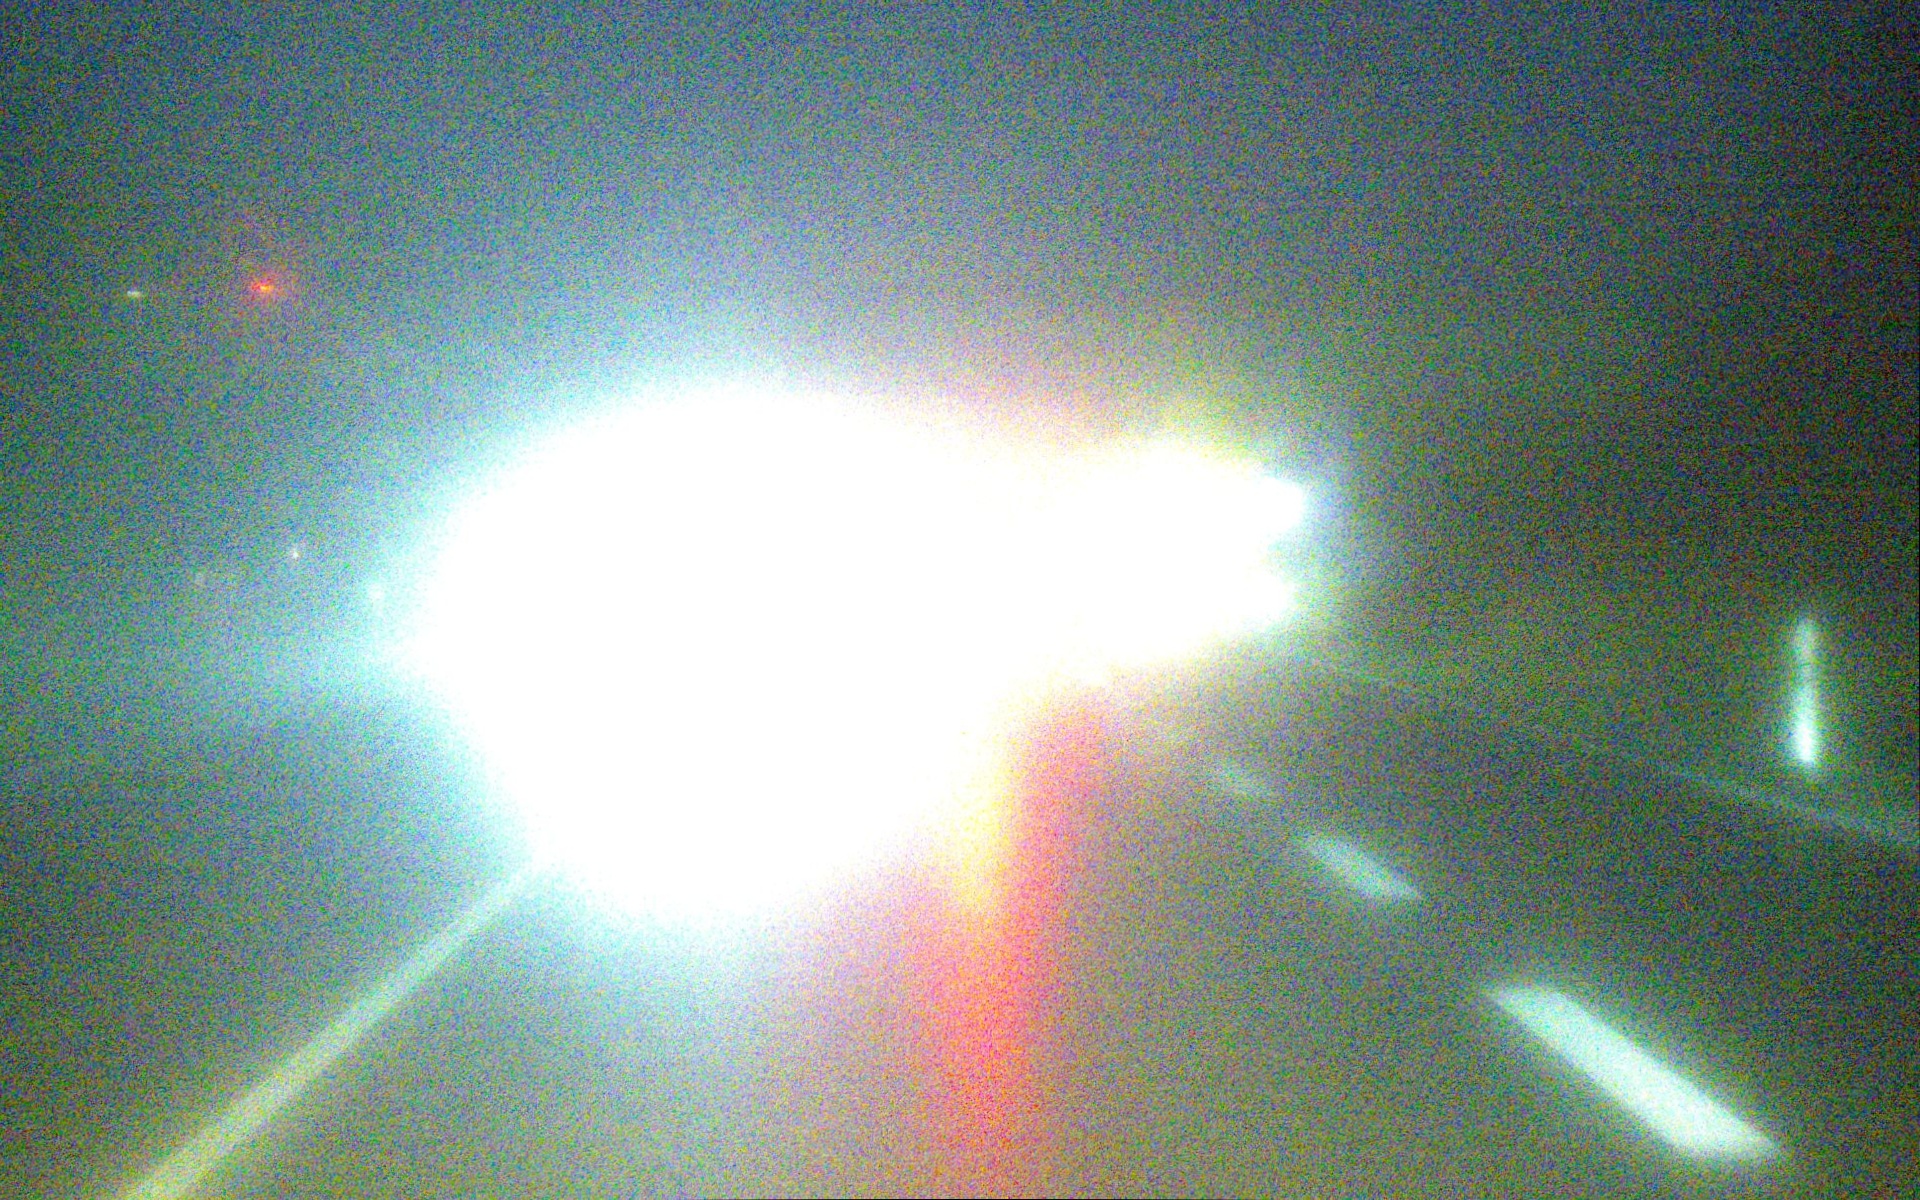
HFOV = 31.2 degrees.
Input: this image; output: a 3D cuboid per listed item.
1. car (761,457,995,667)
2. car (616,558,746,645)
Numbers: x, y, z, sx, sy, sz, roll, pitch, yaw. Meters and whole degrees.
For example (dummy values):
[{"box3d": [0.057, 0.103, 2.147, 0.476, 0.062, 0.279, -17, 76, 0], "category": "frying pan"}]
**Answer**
[{"box3d": [-0.734, -0.323, 28.894, 1.808, 1.616, 4.001, -1, 1, -3], "category": "car"}, {"box3d": [-4.909, -0.005, 60.952, 1.993, 1.468, 4.276, 0, 1, -1], "category": "car"}]
